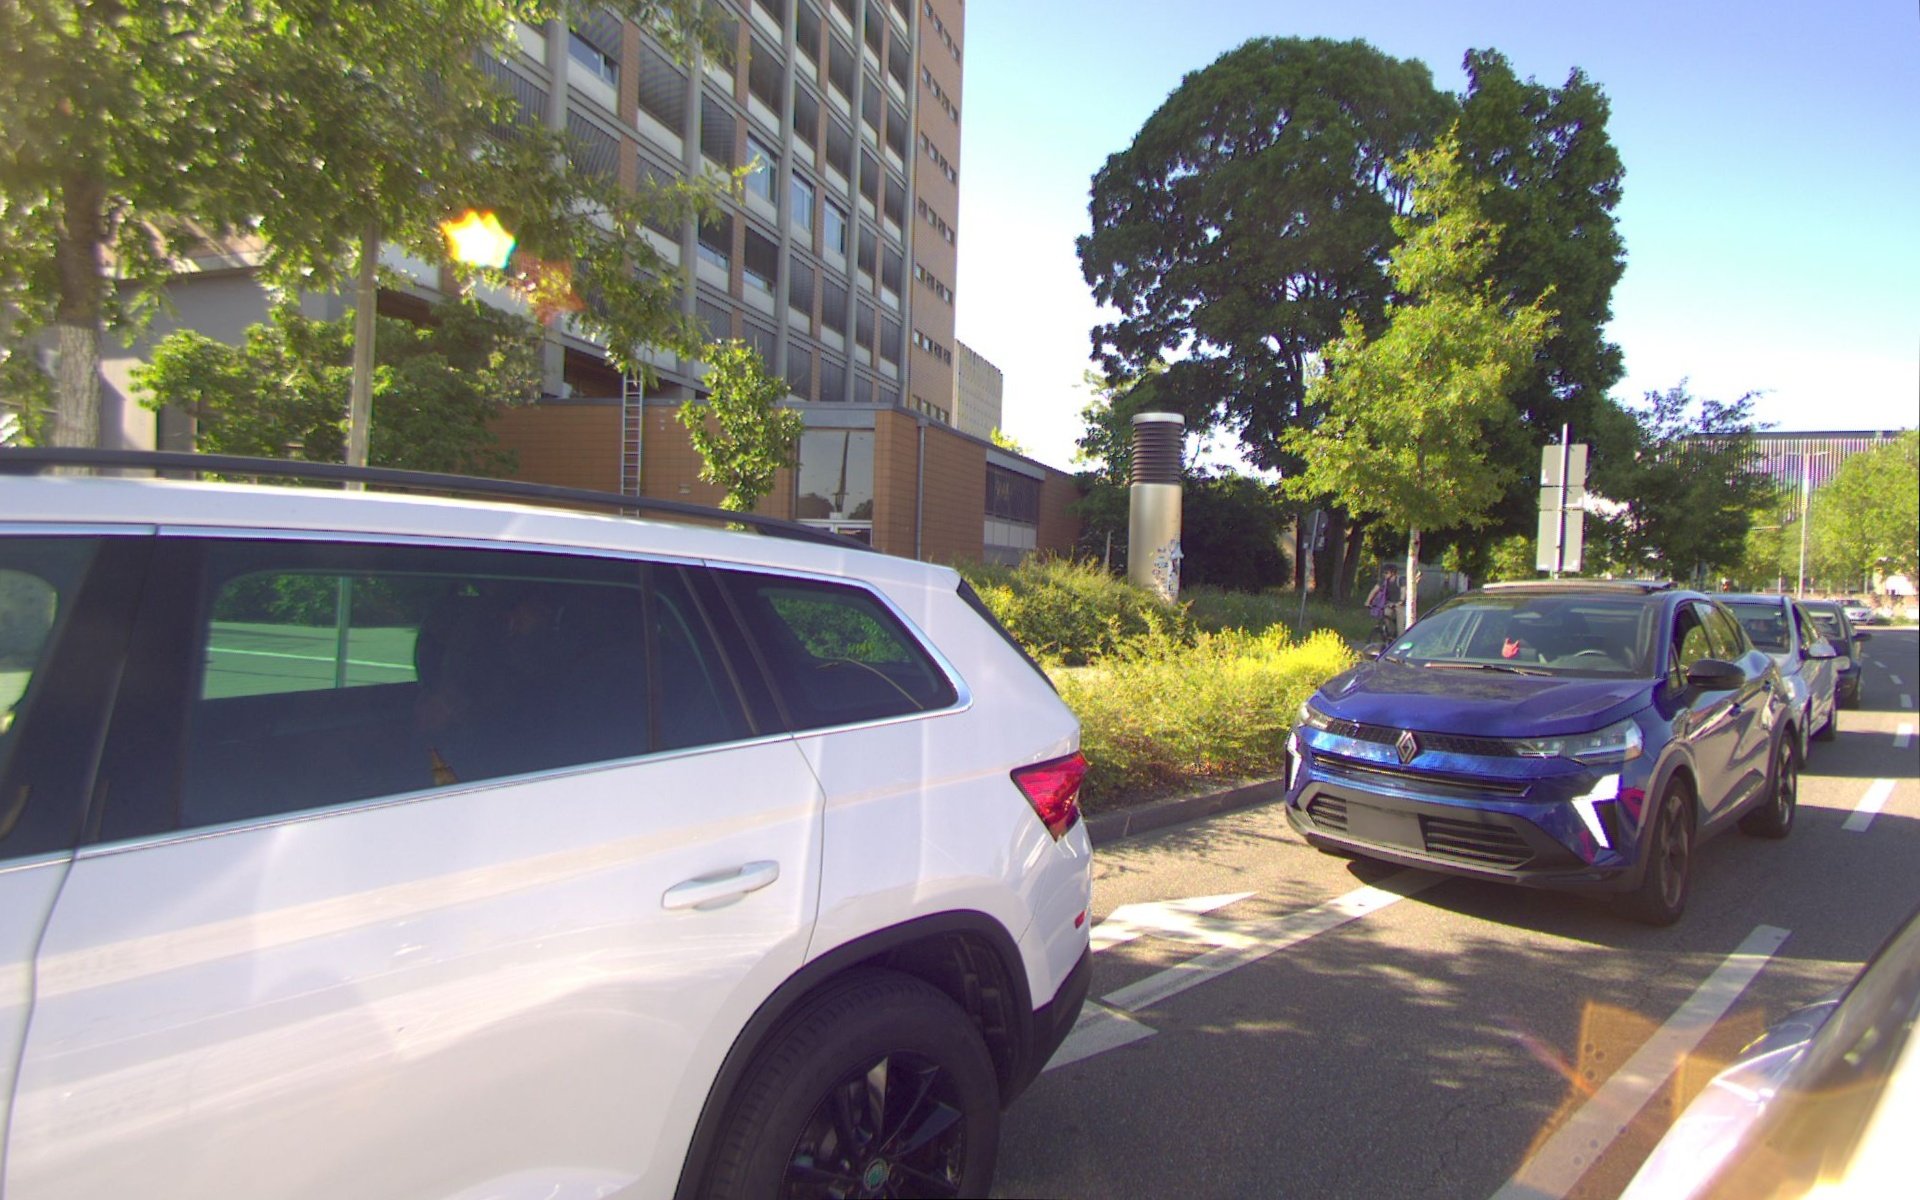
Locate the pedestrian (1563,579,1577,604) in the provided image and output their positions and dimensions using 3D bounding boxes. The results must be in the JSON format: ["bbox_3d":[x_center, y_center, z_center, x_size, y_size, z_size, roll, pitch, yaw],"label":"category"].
[{"bbox_3d":[47.273,-0.672,78.461,0.811,1.941,0.767,0,0,19],"label":"pedestrian"}]

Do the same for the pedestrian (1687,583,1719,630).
[{"bbox_3d":[26.150,0.226,35.626,0.684,1.624,0.657,2,1,20],"label":"pedestrian"}]

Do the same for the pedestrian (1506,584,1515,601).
[{"bbox_3d":[65.010,-0.883,119.462,0.812,1.941,0.766,0,0,23],"label":"pedestrian"}]

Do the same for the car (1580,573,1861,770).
[{"bbox_3d":[8.112,0.591,10.656,3.977,1.645,1.782,0,2,-45],"label":"car"}]

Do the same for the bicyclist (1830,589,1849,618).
[{"bbox_3d":[48.761,0.186,56.087,0.690,1.578,0.806,0,0,34],"label":"bicyclist"}]

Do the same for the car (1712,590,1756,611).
[{"bbox_3d":[52.474,0.018,68.635,1.736,1.396,3.540,1,1,27],"label":"car"}]

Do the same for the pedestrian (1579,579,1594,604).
[{"bbox_3d":[48.109,-0.665,77.756,0.811,1.941,0.767,0,0,19],"label":"pedestrian"}]

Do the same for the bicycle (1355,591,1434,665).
[{"bbox_3d":[7.947,0.479,18.463,0.690,1.232,1.806,5,4,43],"label":"bicycle"}]

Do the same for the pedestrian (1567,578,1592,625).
[{"bbox_3d":[22.213,0.051,36.293,0.688,1.624,0.653,2,1,35],"label":"pedestrian"}]

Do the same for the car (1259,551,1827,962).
[{"bbox_3d":[3.636,0.606,5.980,4.013,1.626,1.704,0,1,-41],"label":"car"}]

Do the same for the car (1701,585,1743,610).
[{"bbox_3d":[64.882,-0.259,86.194,1.767,2.039,4.201,1,1,22],"label":"car"}]

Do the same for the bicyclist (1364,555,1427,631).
[{"bbox_3d":[7.881,-0.138,18.298,0.720,1.294,0.893,5,3,43],"label":"bicyclist"}]

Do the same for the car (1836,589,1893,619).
[{"bbox_3d":[53.584,0.211,59.999,1.509,1.700,3.353,1,0,24],"label":"car"}]

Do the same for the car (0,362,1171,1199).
[{"bbox_3d":[-1.631,0.551,1.669,4.223,1.662,1.697,0,2,-42],"label":"car"}]

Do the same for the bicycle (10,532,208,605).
[{"bbox_3d":[-17.549,-0.641,21.011,0.790,1.394,3.111,2,1,26],"label":"bicycle"}]

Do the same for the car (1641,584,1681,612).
[{"bbox_3d":[51.173,-0.170,73.950,1.811,1.876,3.717,2,1,27],"label":"car"}]

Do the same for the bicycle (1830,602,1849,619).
[{"bbox_3d":[48.799,0.573,56.172,0.586,0.900,1.635,0,0,33],"label":"bicycle"}]

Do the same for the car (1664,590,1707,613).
[{"bbox_3d":[48.803,0.089,68.148,1.735,1.494,3.543,0,1,26],"label":"car"}]

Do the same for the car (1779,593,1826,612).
[{"bbox_3d":[59.321,0.186,71.347,1.569,1.219,3.967,0,2,25],"label":"car"}]

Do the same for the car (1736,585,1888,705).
[{"bbox_3d":[13.461,0.621,15.931,1.646,1.631,3.435,3,2,43],"label":"car"}]

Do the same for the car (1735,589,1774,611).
[{"bbox_3d":[62.024,-0.003,79.044,1.578,1.625,3.048,2,1,23],"label":"car"}]
